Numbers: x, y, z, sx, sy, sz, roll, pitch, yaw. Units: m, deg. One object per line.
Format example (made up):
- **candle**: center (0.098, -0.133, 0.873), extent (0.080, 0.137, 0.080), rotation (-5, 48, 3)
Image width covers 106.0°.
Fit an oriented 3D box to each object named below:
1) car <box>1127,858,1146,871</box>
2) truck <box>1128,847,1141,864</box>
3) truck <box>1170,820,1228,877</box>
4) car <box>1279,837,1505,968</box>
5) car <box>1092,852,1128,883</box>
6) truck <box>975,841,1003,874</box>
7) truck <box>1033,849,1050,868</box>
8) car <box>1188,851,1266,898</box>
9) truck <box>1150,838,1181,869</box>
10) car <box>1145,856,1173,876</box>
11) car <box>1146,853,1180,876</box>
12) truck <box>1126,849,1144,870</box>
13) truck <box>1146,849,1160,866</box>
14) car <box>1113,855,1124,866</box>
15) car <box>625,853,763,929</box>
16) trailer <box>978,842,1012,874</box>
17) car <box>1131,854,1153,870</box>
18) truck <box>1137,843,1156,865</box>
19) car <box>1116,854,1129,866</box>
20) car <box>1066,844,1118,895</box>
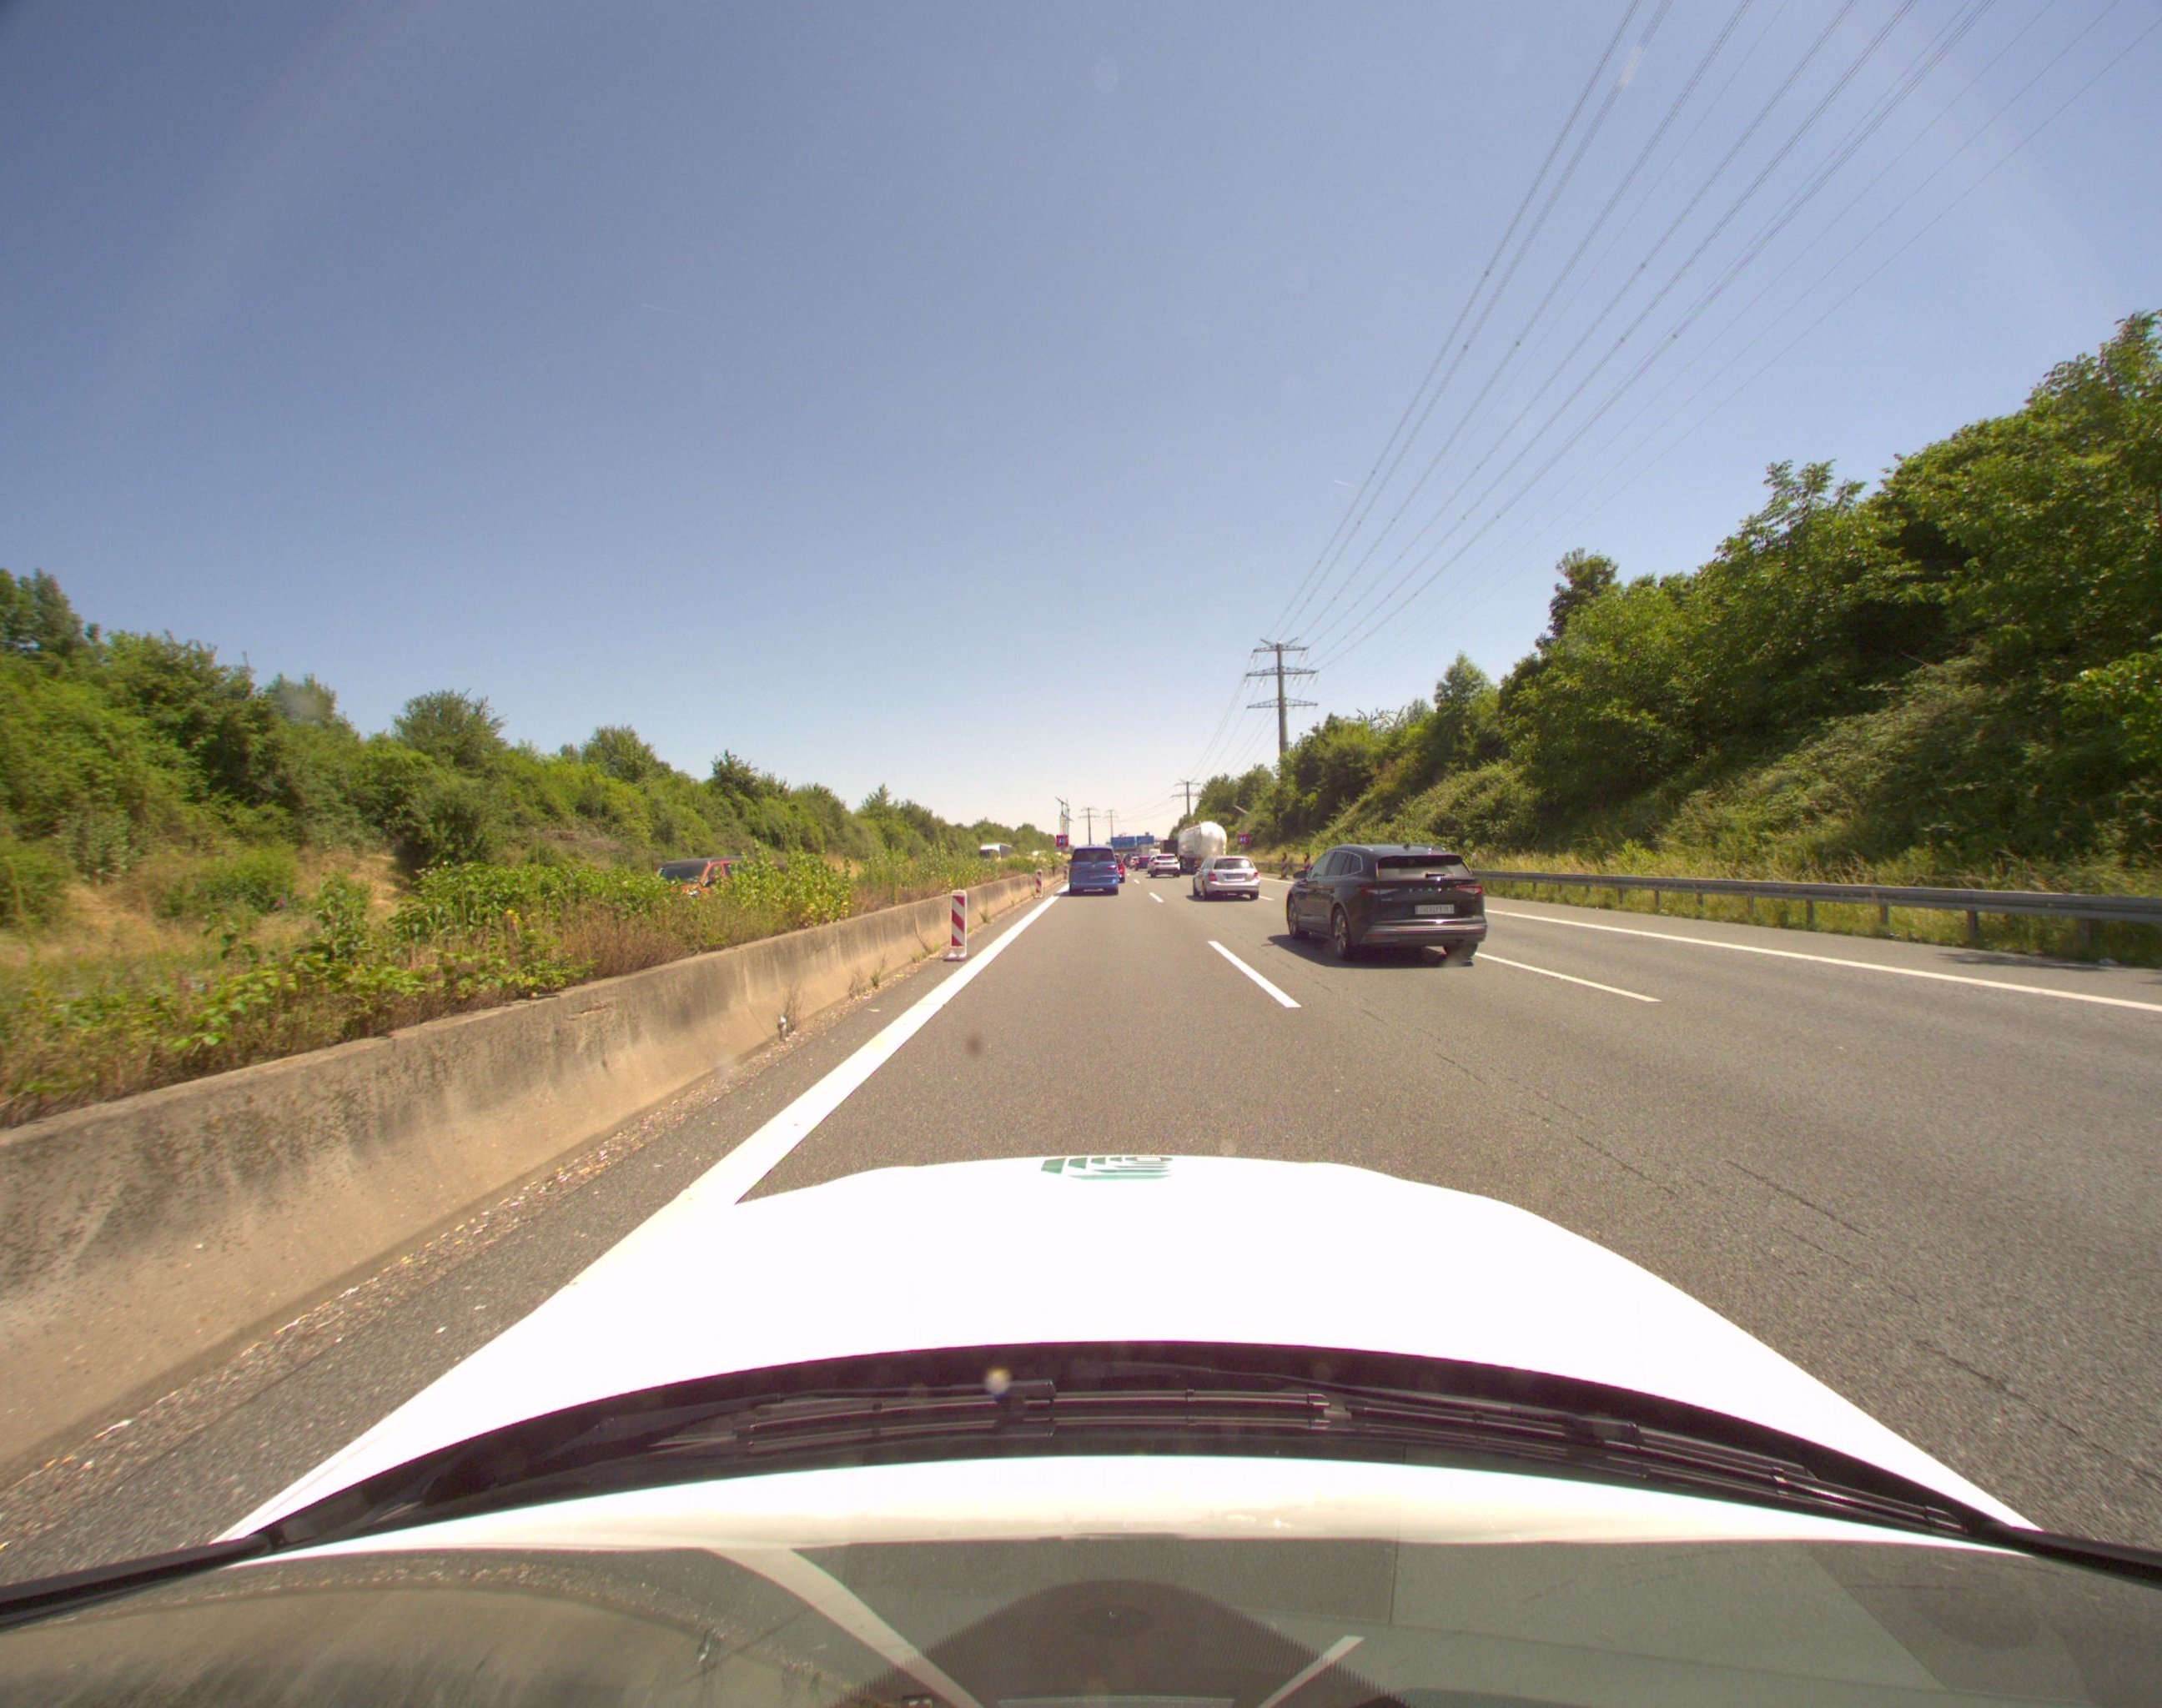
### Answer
- **car**: center (6.495, 1.218, 95.922), extent (1.902, 1.516, 4.383), rotation (0, 0, 0)
- **truck**: center (14.314, 0.490, 217.422), extent (2.928, 4.291, 12.552), rotation (0, 0, 1)
- **truck**: center (9.310, -0.342, 66.230), extent (2.635, 4.072, 16.442), rotation (0, 0, 1)
- **car**: center (4.439, 0.611, 12.430), extent (1.821, 1.614, 4.431), rotation (-1, 0, 1)
- **car**: center (1.571, 0.715, 45.428), extent (1.902, 1.631, 4.384), rotation (-1, 0, 1)
- **truck**: center (-12.513, 0.514, 111.356), extent (2.741, 4.167, 6.412), rotation (-5, -1, 1)
- **truck**: center (-8.601, 0.946, 177.129), extent (2.753, 3.888, 9.031), rotation (-5, 0, 1)
- **car**: center (4.791, 0.650, 27.281), extent (1.815, 1.437, 4.383), rotation (0, 0, 0)
- **truck**: center (10.171, -0.021, 98.829), extent (2.635, 3.539, 12.552), rotation (0, 0, 1)
- **car**: center (6.386, 0.973, 66.890), extent (1.902, 1.569, 4.383), rotation (0, 0, 0)
- **car**: center (5.420, 0.692, 54.160), extent (1.902, 1.508, 3.921), rotation (0, 0, 0)
- **truck**: center (7.159, 0.674, 108.310), extent (1.986, 2.724, 5.680), rotation (0, 0, 1)
- **truck**: center (11.798, 0.601, 133.682), extent (1.986, 2.724, 5.680), rotation (0, 0, 1)
- **car**: center (7.030, 1.285, 153.883), extent (1.986, 2.014, 4.002), rotation (0, 0, 2)
- **car**: center (-11.925, 1.054, 25.508), extent (1.987, 2.096, 4.607), rotation (-3, 0, 1)
- **trailer**: center (-12.339, 0.558, 118.052), extent (2.743, 4.166, 14.200), rotation (-5, 0, 1)
- **car**: center (6.081, 0.804, 81.180), extent (1.902, 1.516, 4.383), rotation (0, 0, 0)
- **truck**: center (13.140, 0.018, 163.638), extent (2.928, 4.291, 12.552), rotation (0, 0, 1)
- **car**: center (6.679, 0.963, 131.241), extent (1.987, 2.014, 4.000), rotation (0, 0, 1)
- **car**: center (0.379, 0.576, 32.239), extent (1.866, 1.879, 4.380), rotation (0, 0, -2)
